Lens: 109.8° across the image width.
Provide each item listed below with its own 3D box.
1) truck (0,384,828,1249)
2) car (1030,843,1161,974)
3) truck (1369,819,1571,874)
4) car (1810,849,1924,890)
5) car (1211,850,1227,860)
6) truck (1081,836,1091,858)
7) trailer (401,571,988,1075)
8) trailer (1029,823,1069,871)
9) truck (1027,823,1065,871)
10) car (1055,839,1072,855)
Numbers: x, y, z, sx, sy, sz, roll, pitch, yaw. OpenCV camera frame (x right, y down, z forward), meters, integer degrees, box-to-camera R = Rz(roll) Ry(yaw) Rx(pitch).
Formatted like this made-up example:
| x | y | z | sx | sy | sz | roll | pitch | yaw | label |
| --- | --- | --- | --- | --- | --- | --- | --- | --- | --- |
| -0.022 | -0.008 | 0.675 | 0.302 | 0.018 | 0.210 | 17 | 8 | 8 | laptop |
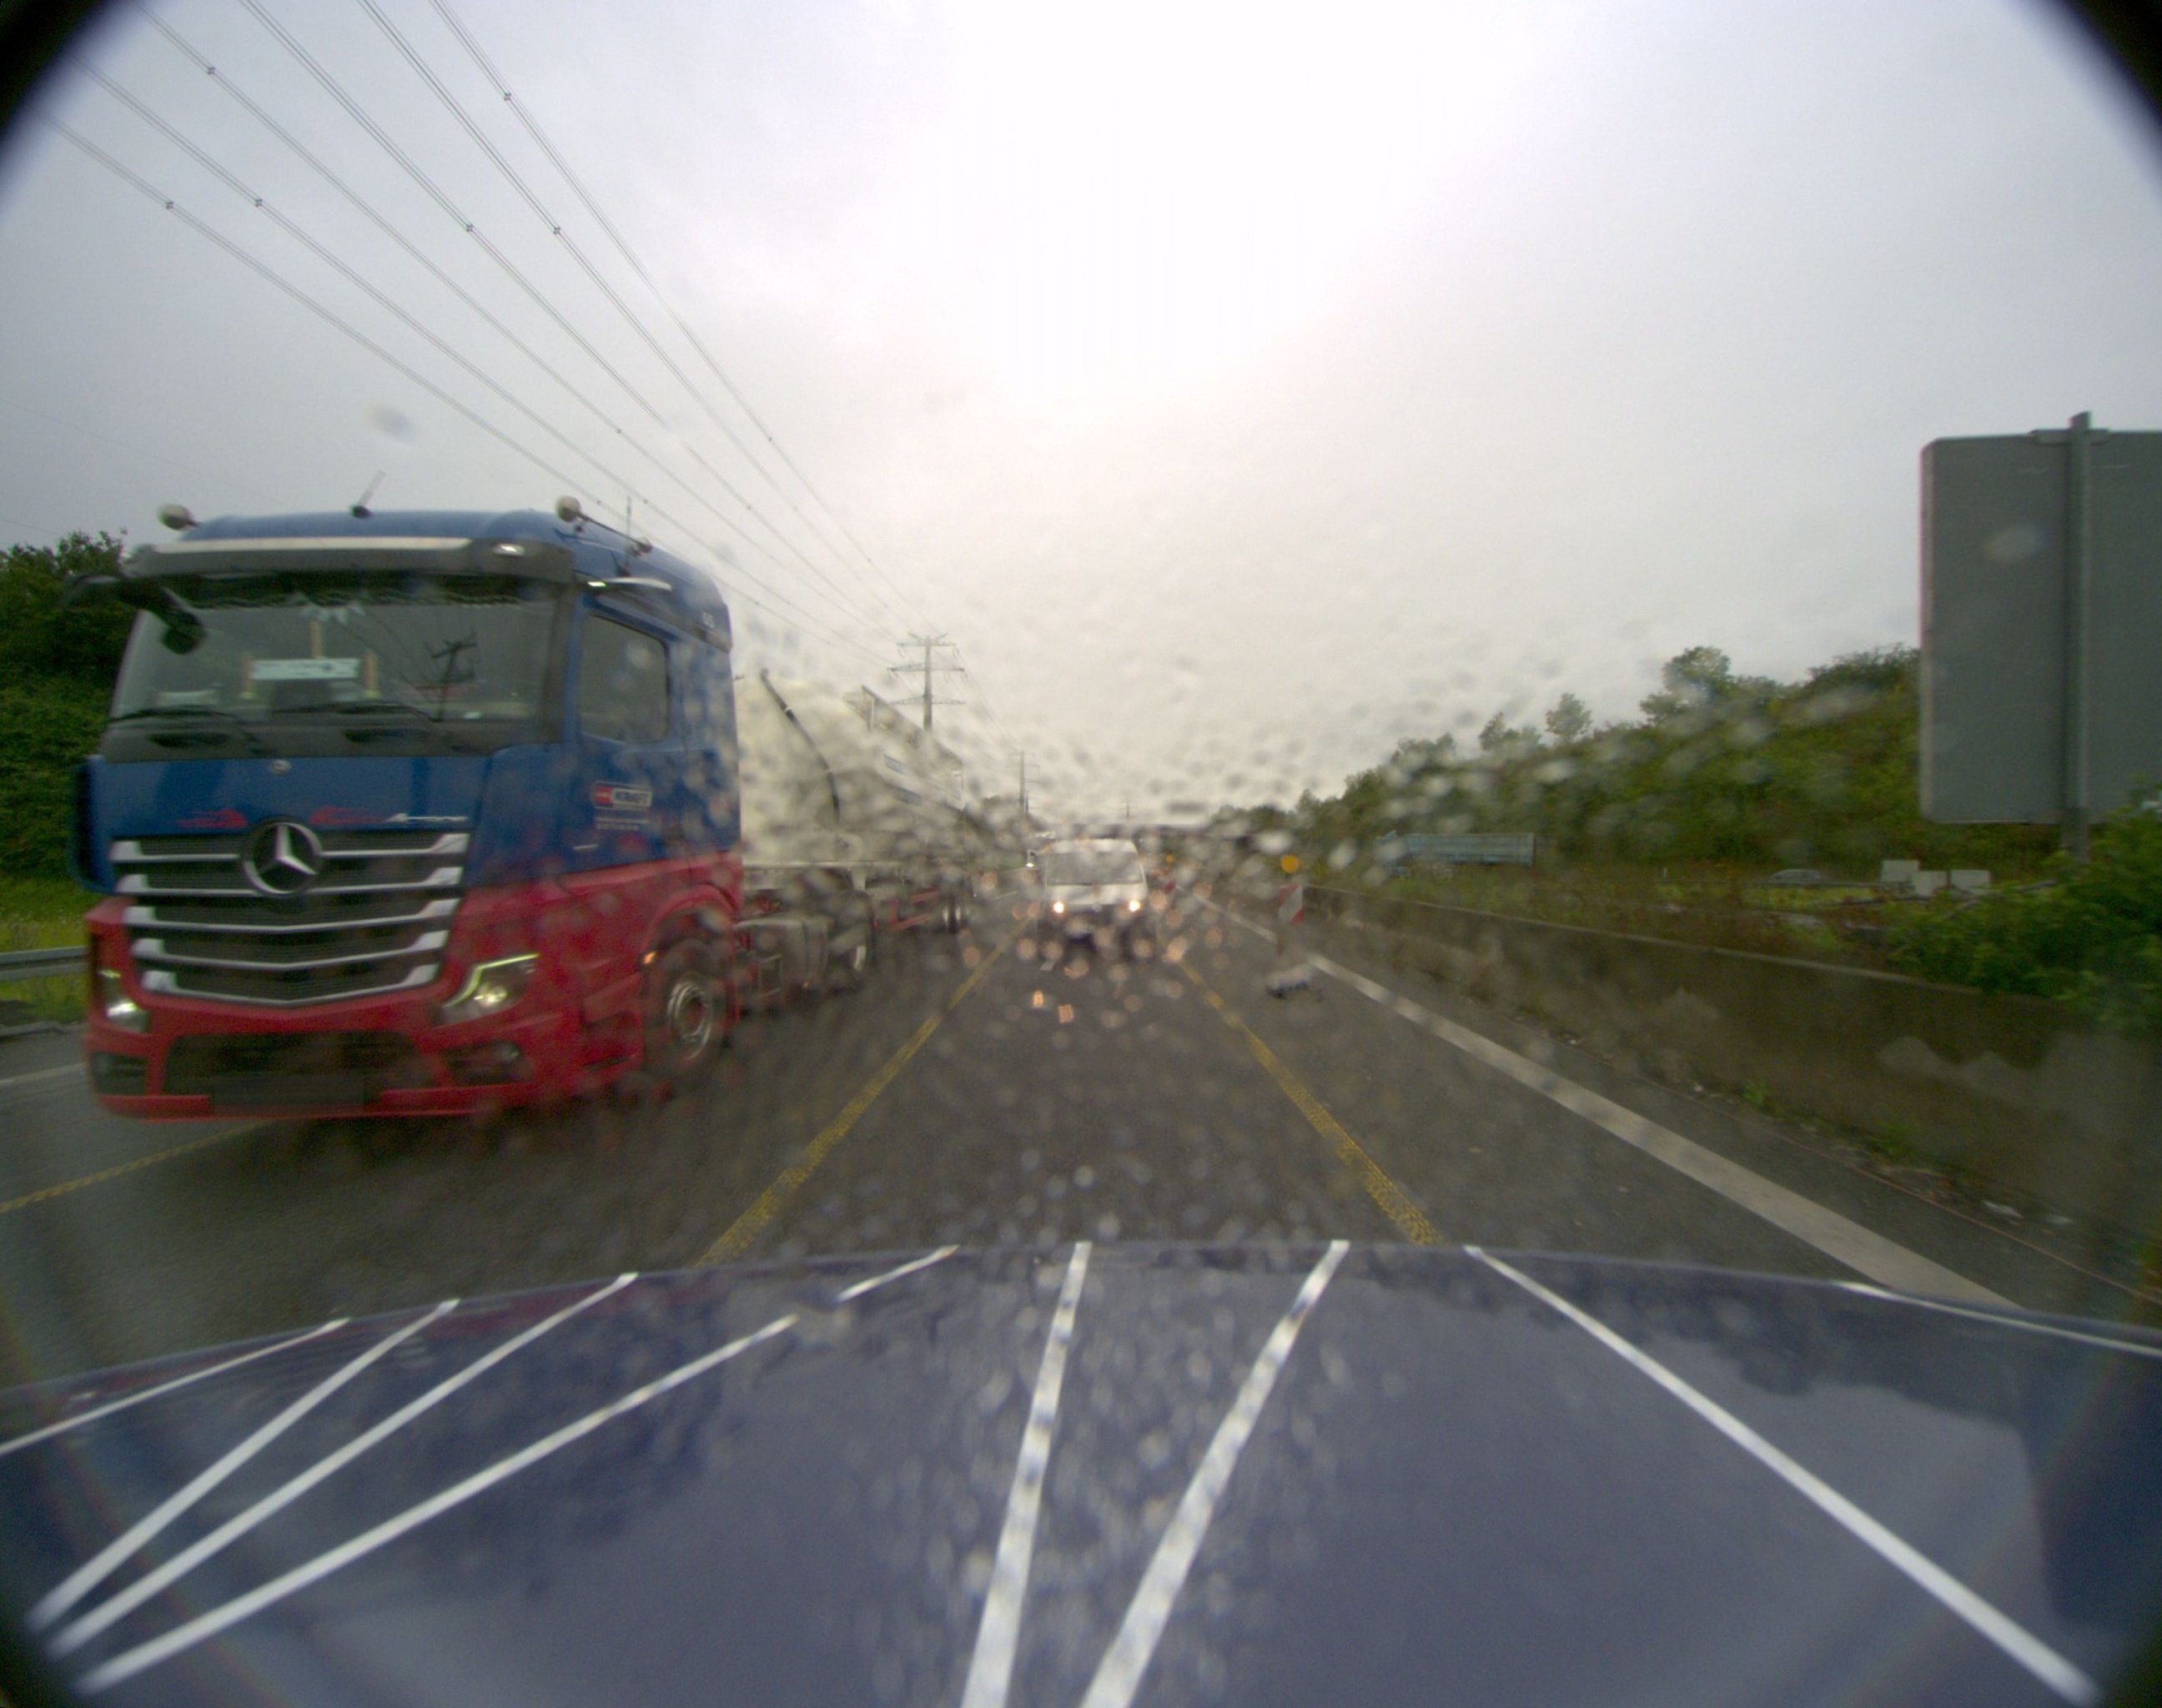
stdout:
| x | y | z | sx | sy | sz | roll | pitch | yaw | label |
| --- | --- | --- | --- | --- | --- | --- | --- | --- | --- |
| -3.902 | -0.172 | 5.530 | 2.554 | 3.924 | 3.999 | -2 | 1 | 1 | truck |
| 0.203 | 0.751 | 12.967 | 1.770 | 1.774 | 4.647 | -2 | 0 | 0 | car |
| 28.364 | -0.516 | 56.883 | 2.905 | 3.598 | 14.547 | 0 | 0 | -27 | truck |
| 40.801 | 0.752 | 39.579 | 3.988 | 2.002 | 2.004 | 1 | 1 | 42 | car |
| 24.591 | 0.242 | 135.742 | 1.999 | 1.779 | 4.229 | 0 | 0 | 0 | car |
| 1.214 | -1.815 | 192.954 | 2.276 | 3.691 | 6.637 | -2 | 16 | 2 | truck |
| -3.742 | -0.324 | 12.055 | 2.525 | 3.812 | 12.350 | -2 | 1 | 2 | trailer |
| -2.827 | -0.712 | 71.793 | 2.808 | 3.980 | 14.147 | -2 | 1 | 1 | trailer |
| -2.968 | -0.633 | 65.795 | 2.748 | 3.912 | 5.397 | -2 | 1 | 1 | truck |
| -2.242 | -0.959 | 98.139 | 1.998 | 2.002 | 4.000 | -2 | 1 | 2 | car |
